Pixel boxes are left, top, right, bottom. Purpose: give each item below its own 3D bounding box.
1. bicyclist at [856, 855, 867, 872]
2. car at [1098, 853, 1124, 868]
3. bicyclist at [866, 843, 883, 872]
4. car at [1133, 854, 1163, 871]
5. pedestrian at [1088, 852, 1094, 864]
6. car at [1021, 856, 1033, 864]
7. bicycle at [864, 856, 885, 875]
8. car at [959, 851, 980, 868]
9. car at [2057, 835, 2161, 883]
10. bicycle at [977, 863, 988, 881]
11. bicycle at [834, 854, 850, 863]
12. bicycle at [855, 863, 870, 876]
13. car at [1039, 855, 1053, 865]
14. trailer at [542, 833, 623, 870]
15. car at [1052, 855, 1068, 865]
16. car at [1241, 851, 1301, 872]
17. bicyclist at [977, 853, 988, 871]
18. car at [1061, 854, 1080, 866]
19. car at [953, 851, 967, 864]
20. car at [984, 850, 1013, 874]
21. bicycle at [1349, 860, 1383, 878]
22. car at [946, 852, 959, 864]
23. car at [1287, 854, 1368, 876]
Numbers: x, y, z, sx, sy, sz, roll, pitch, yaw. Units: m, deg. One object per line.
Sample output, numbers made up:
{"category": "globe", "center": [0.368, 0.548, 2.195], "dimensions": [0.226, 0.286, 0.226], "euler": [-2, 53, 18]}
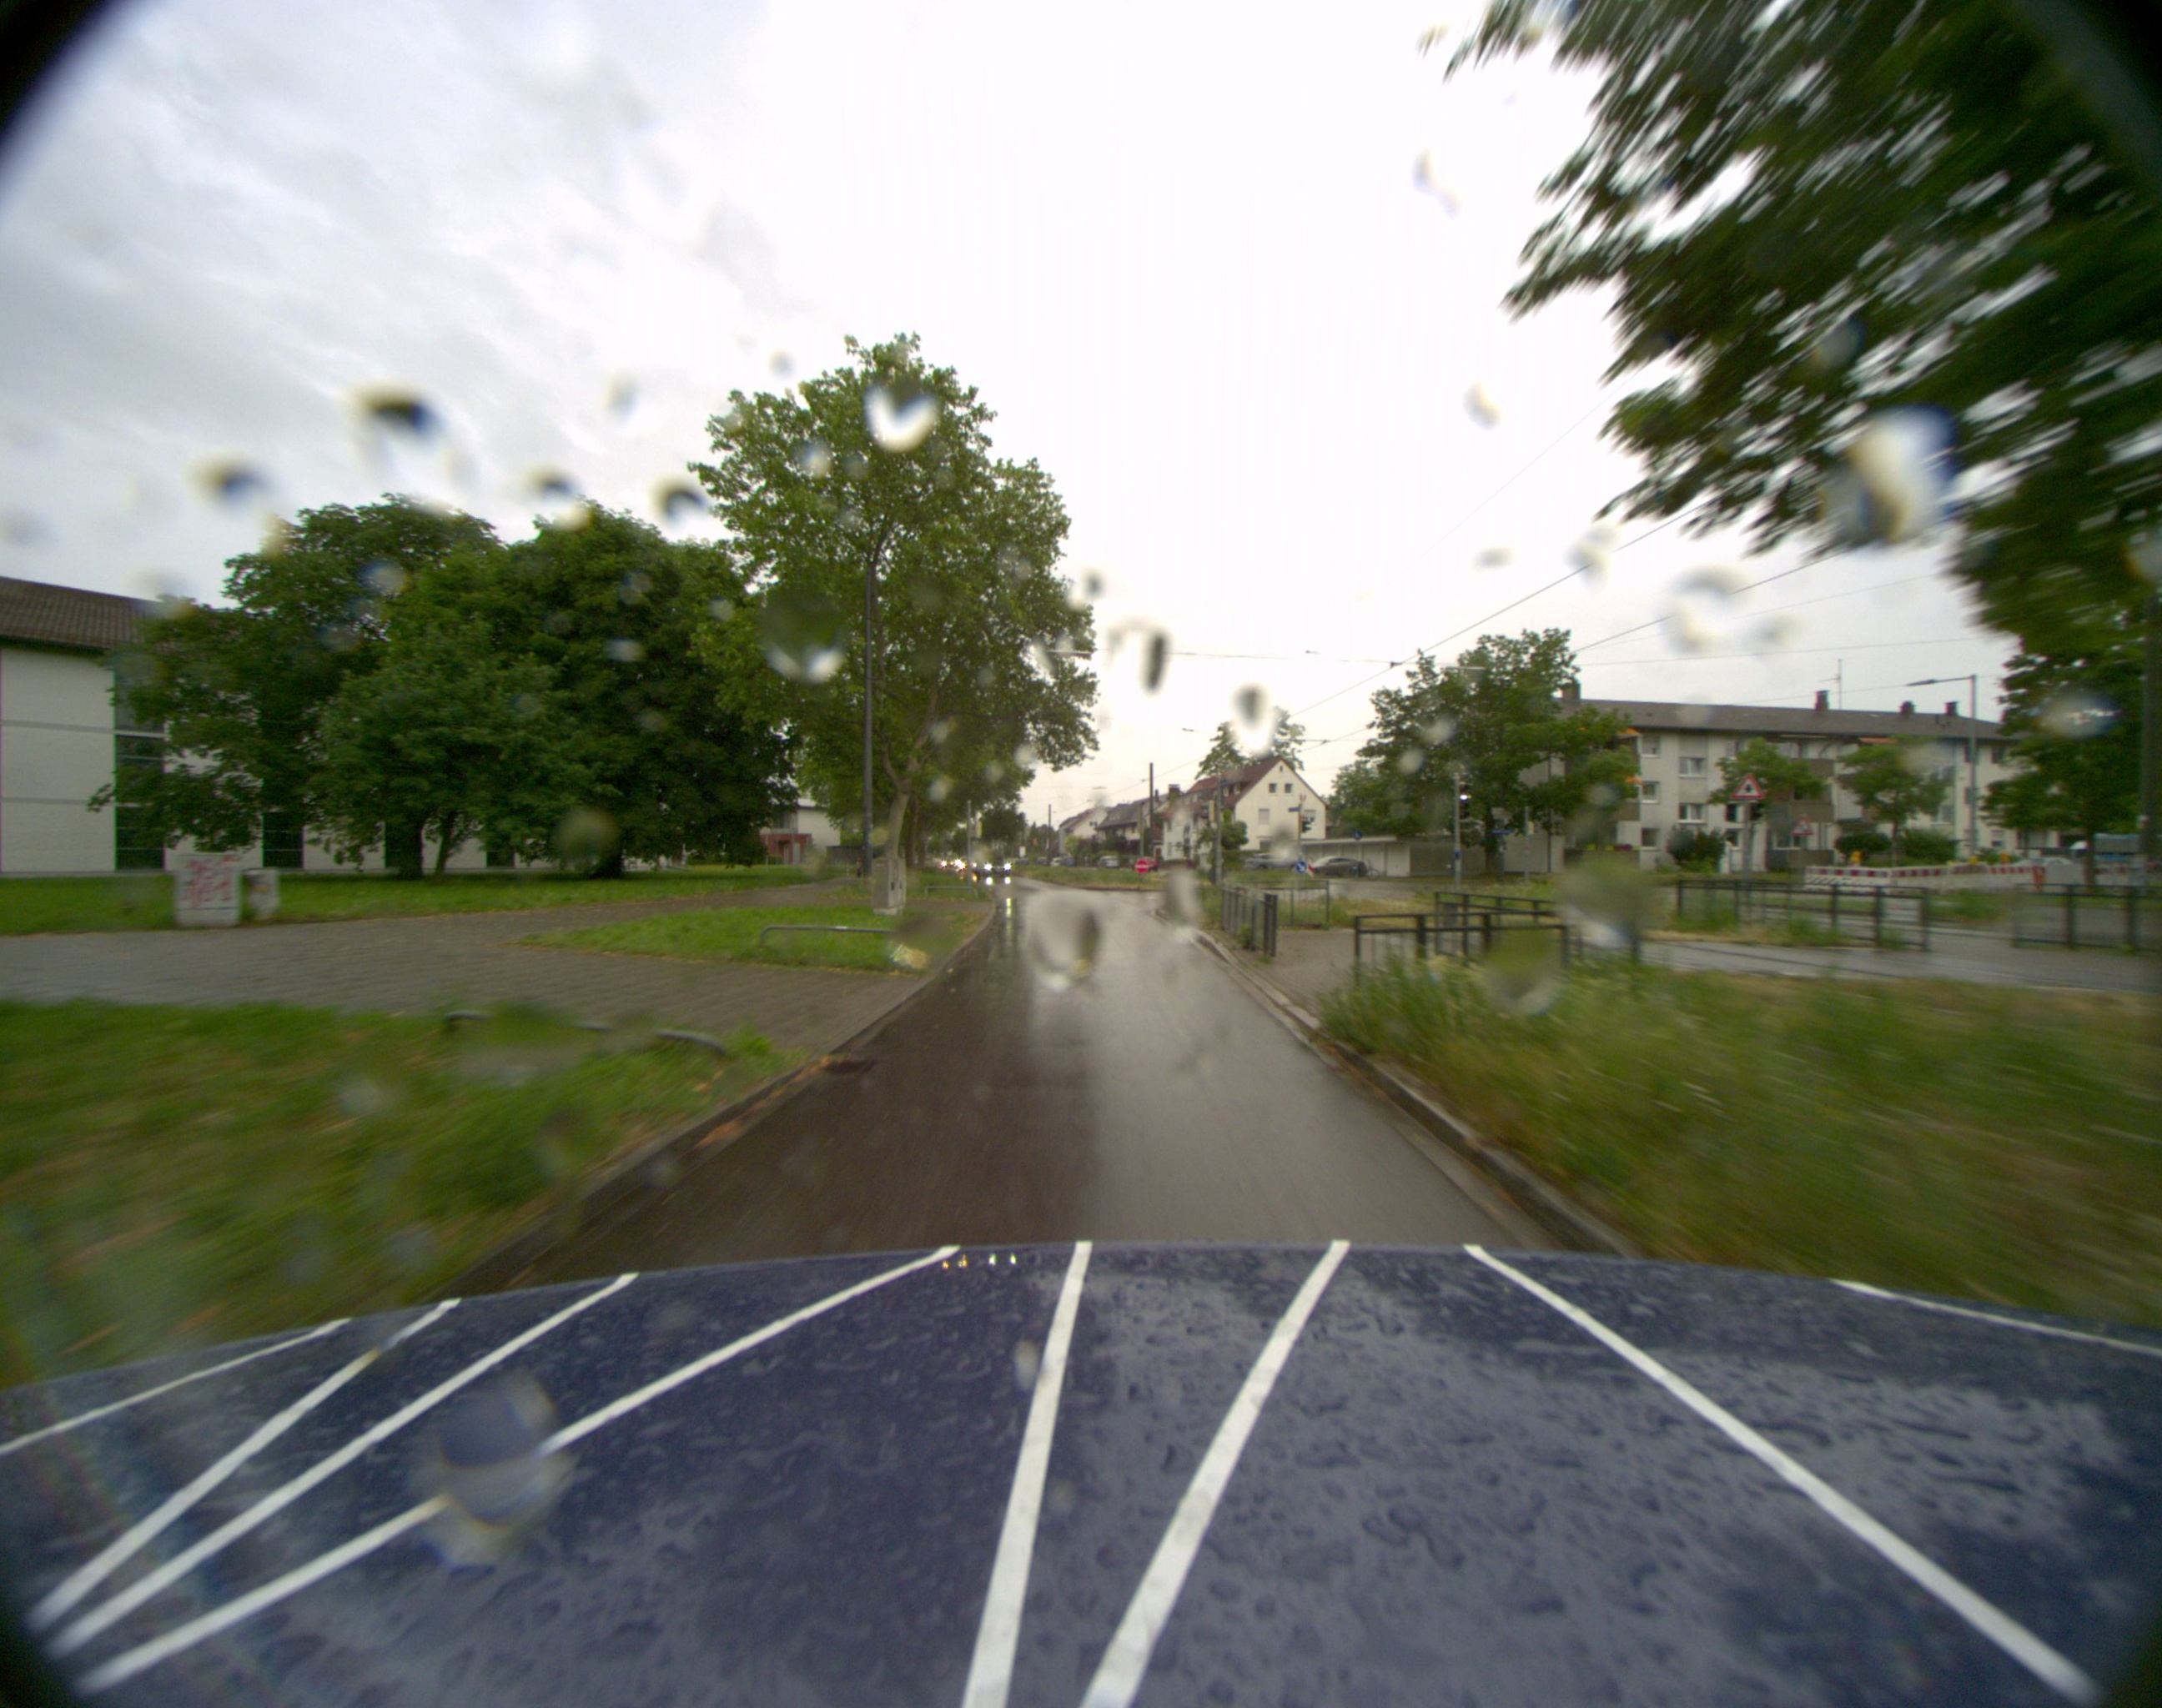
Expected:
{"category": "bicyclist", "center": [-13.309, 0.595, 46.153], "dimensions": [0.488, 1.032, 0.591], "euler": [0, 1, 0]}
{"category": "car", "center": [3.469, 0.772, 88.195], "dimensions": [2.000, 1.604, 4.679], "euler": [-2, 0, -11]}
{"category": "bicyclist", "center": [-12.499, 0.202, 45.995], "dimensions": [0.713, 1.711, 0.957], "euler": [0, 0, 0]}
{"category": "car", "center": [6.587, 0.804, 75.142], "dimensions": [1.848, 1.538, 3.969], "euler": [-3, 1, -11]}
{"category": "pedestrian", "center": [1.485, 0.593, 109.039], "dimensions": [0.600, 1.757, 0.868], "euler": [-2, 1, -12]}
{"category": "car", "center": [-10.405, 1.171, 146.359], "dimensions": [1.760, 1.507, 3.850], "euler": [-3, 1, -12]}
{"category": "bicycle", "center": [-12.504, 0.702, 45.984], "dimensions": [0.713, 1.136, 1.972], "euler": [0, 0, 0]}
{"category": "car", "center": [-11.666, 0.589, 79.351], "dimensions": [1.769, 1.715, 3.929], "euler": [-1, 1, -14]}
{"category": "car", "center": [54.412, 0.281, 40.018], "dimensions": [4.472, 2.432, 1.915], "euler": [0, 0, -12]}
{"category": "bicycle", "center": [-6.083, 1.103, 46.900], "dimensions": [0.659, 1.008, 2.255], "euler": [0, 1, -9]}
{"category": "bicycle", "center": [-29.290, 0.530, 93.197], "dimensions": [0.520, 1.115, 1.942], "euler": [2, 1, 31]}
{"category": "bicycle", "center": [-13.303, 0.940, 46.205], "dimensions": [0.488, 0.704, 1.457], "euler": [0, 1, 0]}
{"category": "car", "center": [-5.991, 1.036, 129.404], "dimensions": [1.760, 1.604, 4.106], "euler": [-3, 1, -12]}
{"category": "trailer", "center": [-32.259, -0.139, 49.256], "dimensions": [1.886, 2.295, 4.029], "euler": [0, 0, 38]}
{"category": "car", "center": [-3.331, 0.887, 118.180], "dimensions": [1.719, 1.520, 3.597], "euler": [-3, 1, -13]}
{"category": "car", "center": [14.480, 0.578, 57.908], "dimensions": [4.002, 1.567, 1.890], "euler": [0, 0, -13]}
{"category": "bicyclist", "center": [-6.054, 0.481, 46.720], "dimensions": [0.622, 1.078, 0.624], "euler": [0, 1, -9]}
{"category": "car", "center": [-1.487, 0.832, 110.789], "dimensions": [1.851, 1.696, 4.177], "euler": [-2, 0, -14]}
{"category": "car", "center": [-16.211, 0.473, 101.571], "dimensions": [1.769, 1.715, 3.930], "euler": [0, 1, -11]}
{"category": "car", "center": [-6.441, 0.644, 58.971], "dimensions": [1.769, 1.715, 3.931], "euler": [-2, 0, -11]}
{"category": "bicycle", "center": [16.505, 0.866, 44.060], "dimensions": [0.483, 1.013, 1.837], "euler": [-4, 2, -36]}
{"category": "car", "center": [-20.208, 0.640, 119.425], "dimensions": [1.769, 1.715, 3.929], "euler": [0, 1, -14]}
{"category": "car", "center": [16.129, 0.703, 49.859], "dimensions": [4.741, 1.357, 1.846], "euler": [-1, 0, -10]}
